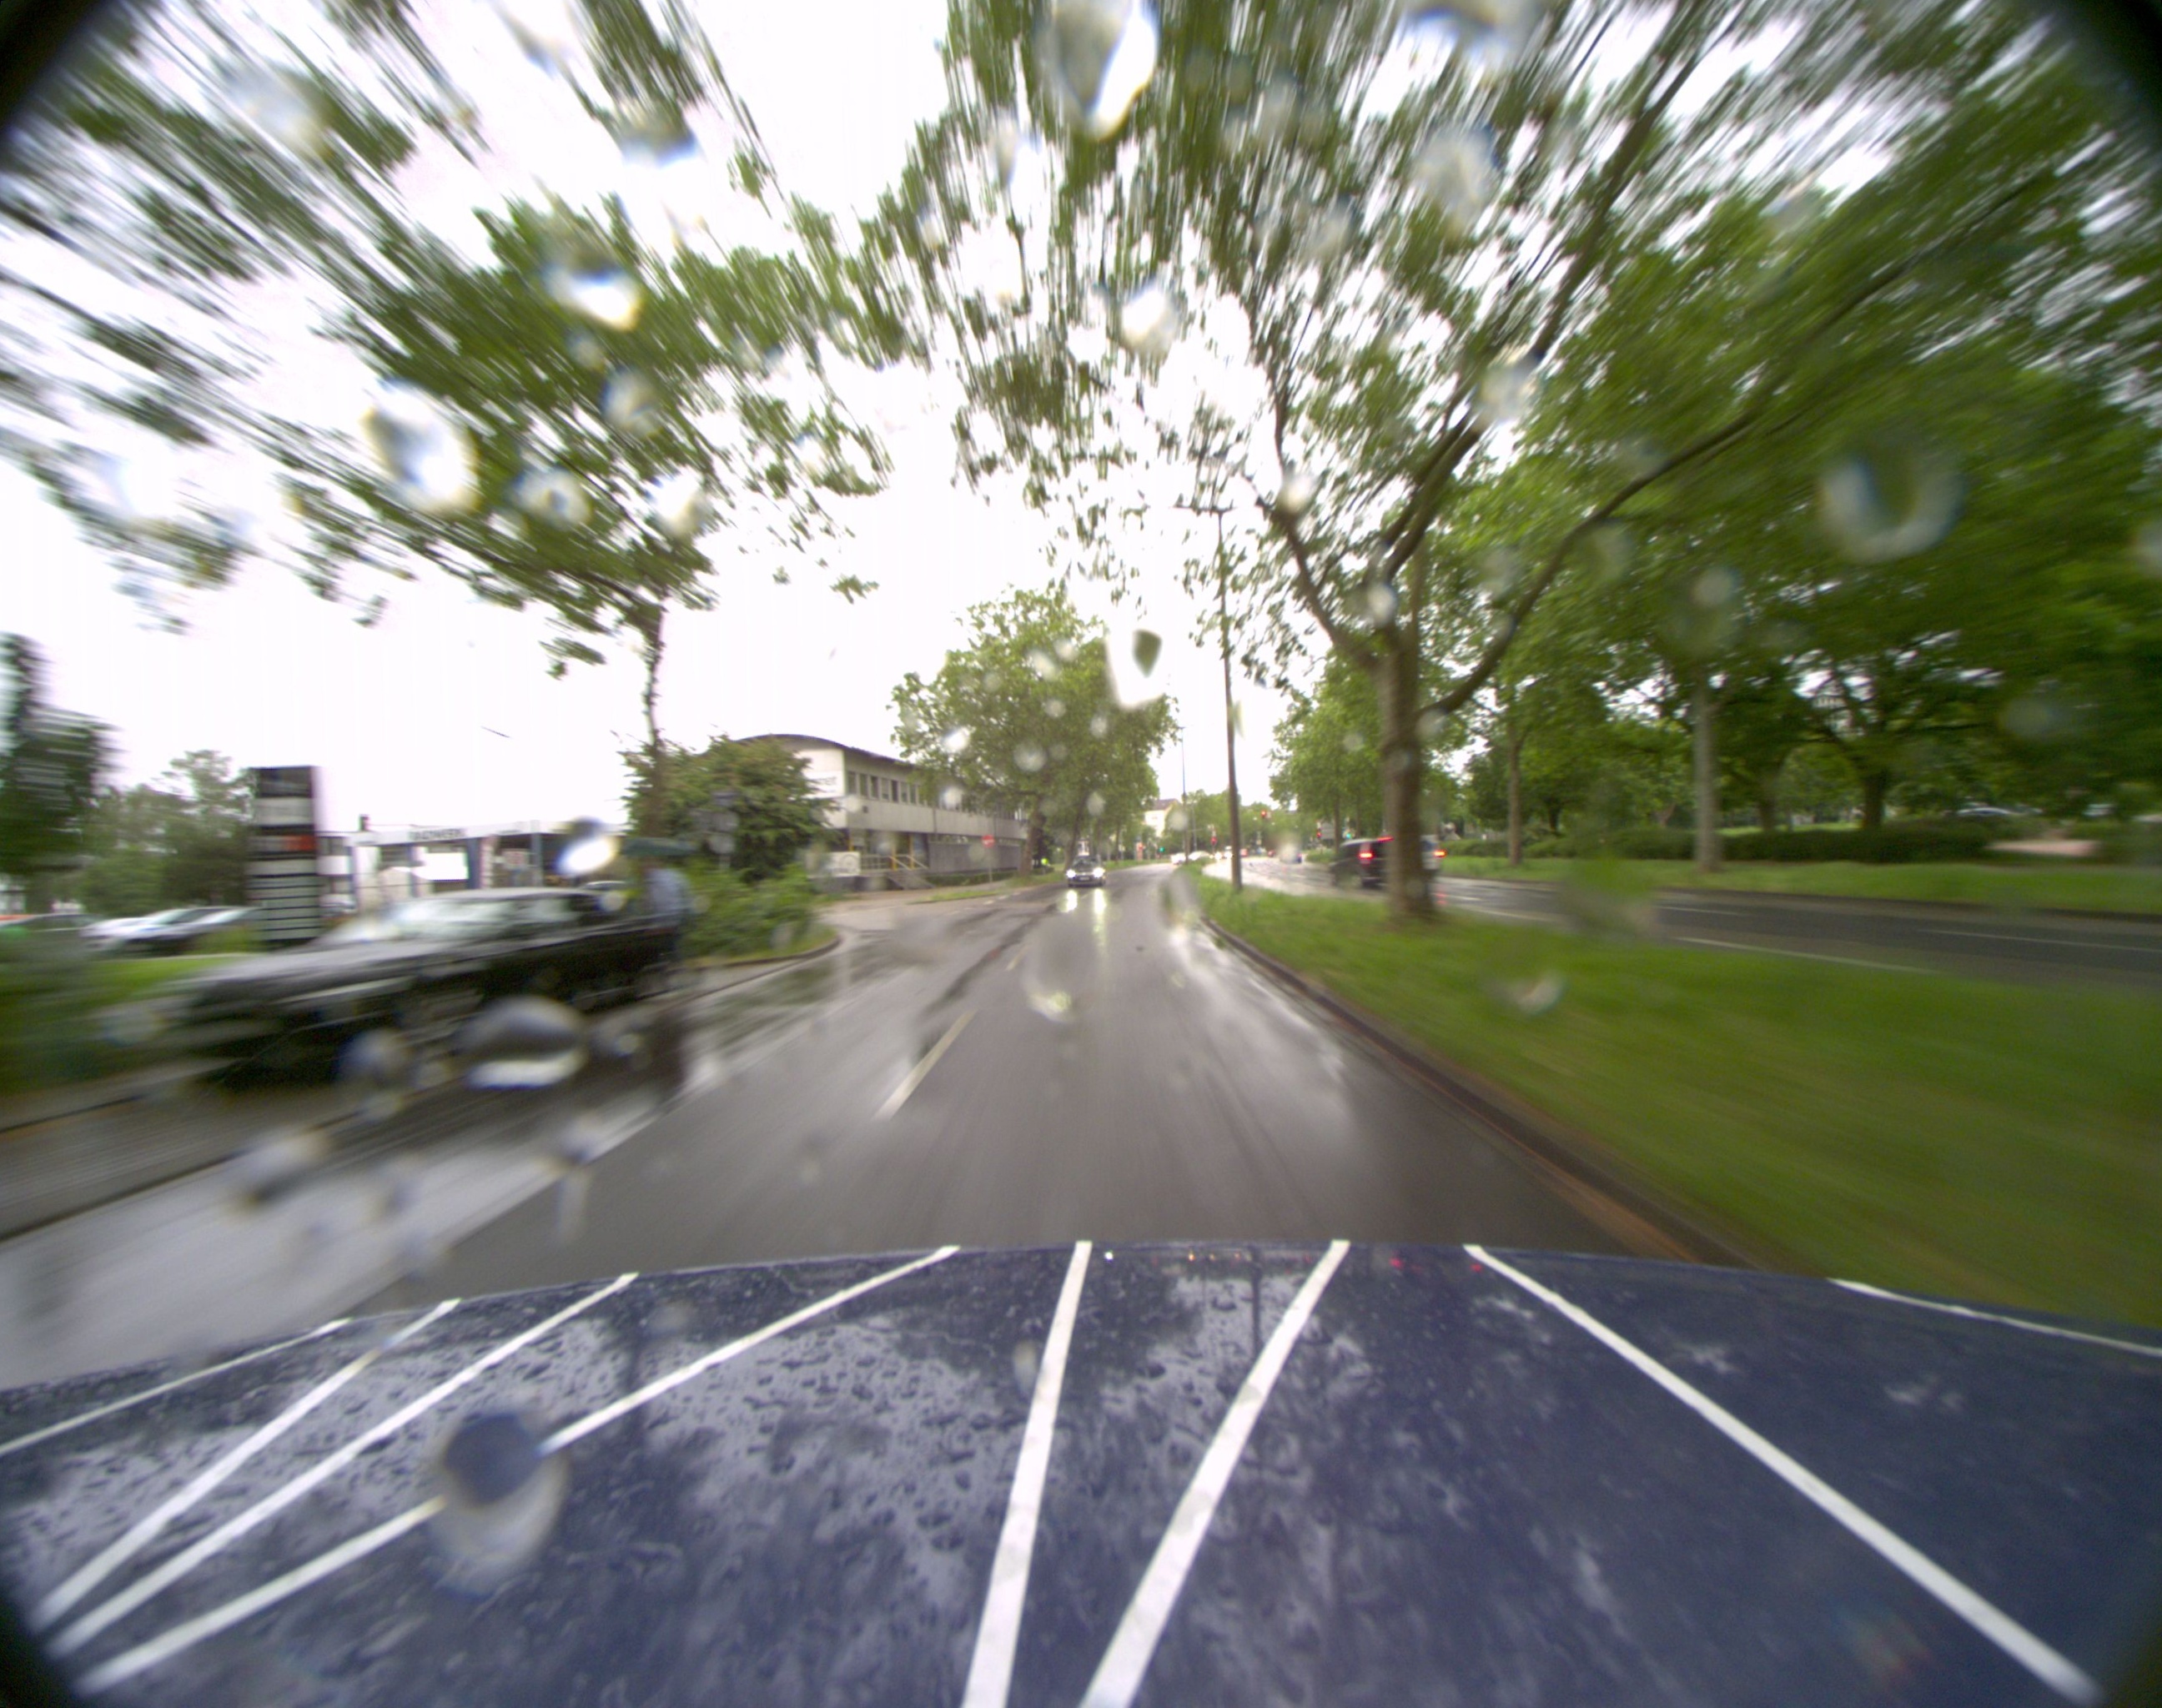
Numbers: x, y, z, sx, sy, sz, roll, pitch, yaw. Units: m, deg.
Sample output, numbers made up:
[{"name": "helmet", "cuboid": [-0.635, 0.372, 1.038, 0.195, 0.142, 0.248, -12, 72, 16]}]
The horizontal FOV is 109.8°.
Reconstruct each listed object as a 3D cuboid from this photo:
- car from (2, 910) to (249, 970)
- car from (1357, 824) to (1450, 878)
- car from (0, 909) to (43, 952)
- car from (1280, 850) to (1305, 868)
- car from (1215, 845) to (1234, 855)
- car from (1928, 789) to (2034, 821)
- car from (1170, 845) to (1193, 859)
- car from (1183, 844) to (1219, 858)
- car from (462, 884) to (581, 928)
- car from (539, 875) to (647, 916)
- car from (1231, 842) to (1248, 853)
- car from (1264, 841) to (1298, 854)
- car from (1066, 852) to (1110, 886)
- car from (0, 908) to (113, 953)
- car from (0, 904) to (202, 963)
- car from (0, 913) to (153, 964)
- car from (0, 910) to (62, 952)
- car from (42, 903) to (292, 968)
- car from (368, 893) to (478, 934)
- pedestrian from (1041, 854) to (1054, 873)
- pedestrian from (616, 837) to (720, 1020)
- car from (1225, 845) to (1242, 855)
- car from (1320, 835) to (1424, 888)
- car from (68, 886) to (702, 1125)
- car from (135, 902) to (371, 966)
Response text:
[{"name": "car", "cuboid": [-31.616, 2.795, 25.379, 1.890, 1.404, 4.736, -3, 0, 20]}, {"name": "car", "cuboid": [14.829, -0.128, 35.328, 2.035, 2.213, 5.434, -3, 0, 1]}, {"name": "car", "cuboid": [-49.652, 3.546, 33.149, 1.890, 1.834, 4.736, -3, 0, 20]}, {"name": "car", "cuboid": [21.655, 0.473, 77.944, 1.997, 1.622, 4.334, -3, 0, 11]}, {"name": "car", "cuboid": [26.691, -0.680, 141.305, 1.995, 1.620, 4.529, -3, 0, 28]}, {"name": "car", "cuboid": [74.401, -4.019, 62.957, 5.402, 2.161, 2.004, -3, 1, 44]}, {"name": "car", "cuboid": [12.201, -0.260, 92.001, 1.996, 1.620, 4.526, -3, 0, 15]}, {"name": "car", "cuboid": [16.589, -0.406, 105.231, 4.508, 1.620, 1.996, -3, 1, -25]}, {"name": "car", "cuboid": [-24.017, 2.229, 32.621, 4.297, 1.499, 1.895, -4, 4, 20]}, {"name": "car", "cuboid": [-25.133, 2.097, 39.290, 1.888, 1.522, 4.183, -2, 4, 35]}, {"name": "car", "cuboid": [32.703, -1.411, 156.770, 1.995, 2.095, 5.151, -3, 1, 28]}, {"name": "car", "cuboid": [30.757, -1.003, 116.860, 4.511, 1.620, 2.003, -3, 1, 29]}, {"name": "car", "cuboid": [0.453, 0.778, 41.367, 1.998, 1.585, 5.591, -3, 0, 4]}, {"name": "car", "cuboid": [-42.854, 3.139, 30.353, 1.890, 1.521, 4.736, -3, 0, 20]}, {"name": "car", "cuboid": [-35.674, 2.810, 27.416, 1.890, 1.607, 4.736, -3, 0, 20]}, {"name": "car", "cuboid": [-38.447, 3.148, 28.160, 1.890, 1.496, 4.736, -3, 0, 20]}, {"name": "car", "cuboid": [-47.090, 3.373, 31.898, 1.890, 1.651, 4.736, -3, 0, 20]}, {"name": "car", "cuboid": [-29.127, 2.540, 24.474, 1.890, 1.521, 4.736, -3, 0, 20]}, {"name": "car", "cuboid": [-29.906, 2.685, 34.548, 4.296, 1.522, 1.895, -3, 4, 22]}, {"name": "pedestrian", "cuboid": [-3.053, 0.825, 68.737, 0.832, 1.685, 0.900, -3, 1, 14]}, {"name": "pedestrian", "cuboid": [-4.898, 0.828, 9.002, 0.901, 2.002, 0.831, -3, 1, -35]}, {"name": "car", "cuboid": [29.876, -0.805, 148.842, 1.995, 1.620, 4.529, -3, 0, 28]}, {"name": "car", "cuboid": [10.752, 0.258, 28.479, 2.035, 1.726, 4.954, -3, 0, 1]}, {"name": "car", "cuboid": [-6.069, 1.154, 7.711, 1.747, 1.420, 4.861, 0, 0, 4]}, {"name": "car", "cuboid": [-26.390, 2.501, 24.498, 1.890, 1.521, 4.736, -3, 0, 18]}]
